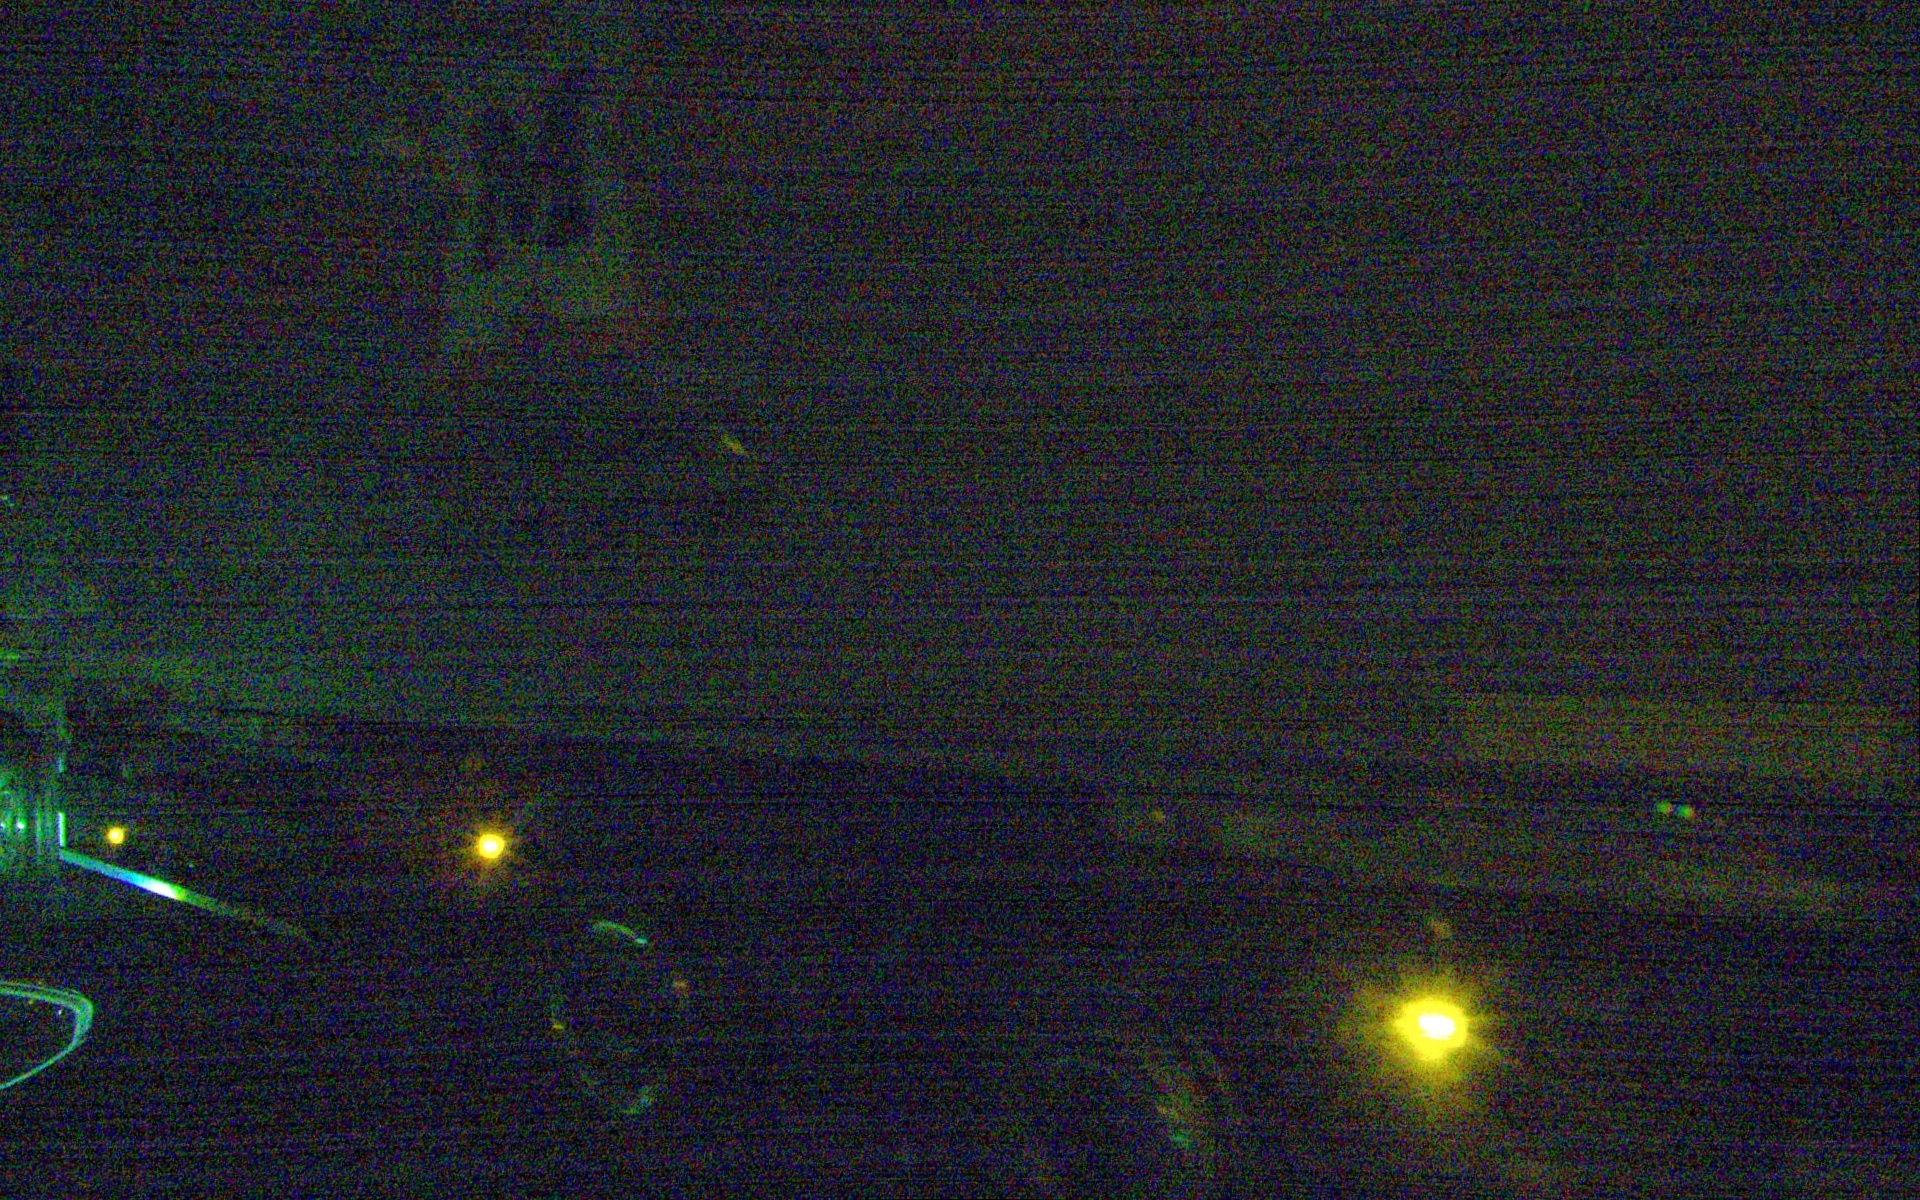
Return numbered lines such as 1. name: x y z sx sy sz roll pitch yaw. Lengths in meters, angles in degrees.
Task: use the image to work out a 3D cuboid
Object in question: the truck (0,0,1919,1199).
1. truck: -1.329 -0.462 4.346 9.769 3.965 2.882 -1 0 33
